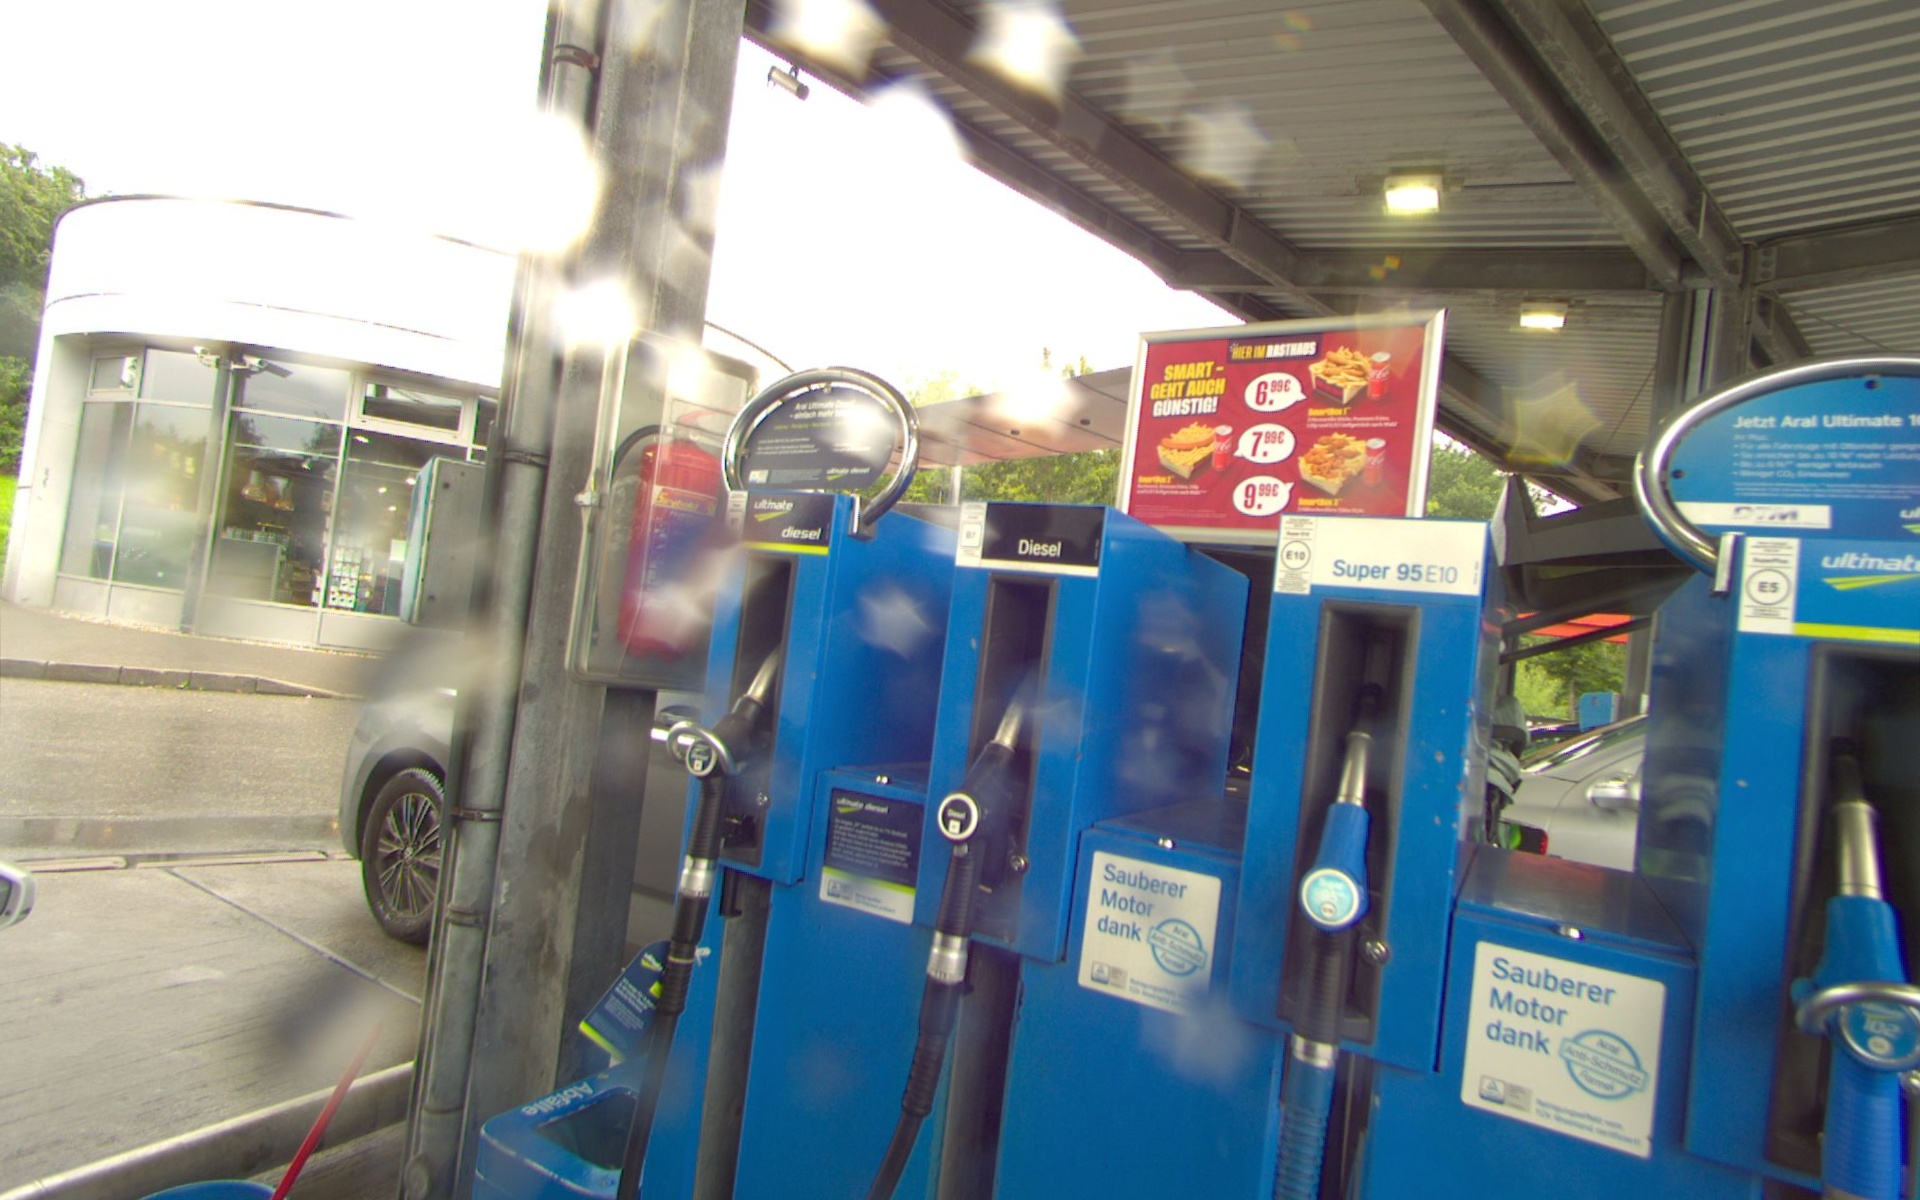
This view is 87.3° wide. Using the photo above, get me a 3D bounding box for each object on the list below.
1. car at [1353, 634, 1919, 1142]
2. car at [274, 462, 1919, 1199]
[{"bbox_3d":[4.493,1.374,4.817,4.464,1.819,1.865,6,-2,32],"label":"car"},{"bbox_3d":[-0.144,0.649,3.674,5.055,1.819,1.865,6,-2,32],"label":"car"}]
